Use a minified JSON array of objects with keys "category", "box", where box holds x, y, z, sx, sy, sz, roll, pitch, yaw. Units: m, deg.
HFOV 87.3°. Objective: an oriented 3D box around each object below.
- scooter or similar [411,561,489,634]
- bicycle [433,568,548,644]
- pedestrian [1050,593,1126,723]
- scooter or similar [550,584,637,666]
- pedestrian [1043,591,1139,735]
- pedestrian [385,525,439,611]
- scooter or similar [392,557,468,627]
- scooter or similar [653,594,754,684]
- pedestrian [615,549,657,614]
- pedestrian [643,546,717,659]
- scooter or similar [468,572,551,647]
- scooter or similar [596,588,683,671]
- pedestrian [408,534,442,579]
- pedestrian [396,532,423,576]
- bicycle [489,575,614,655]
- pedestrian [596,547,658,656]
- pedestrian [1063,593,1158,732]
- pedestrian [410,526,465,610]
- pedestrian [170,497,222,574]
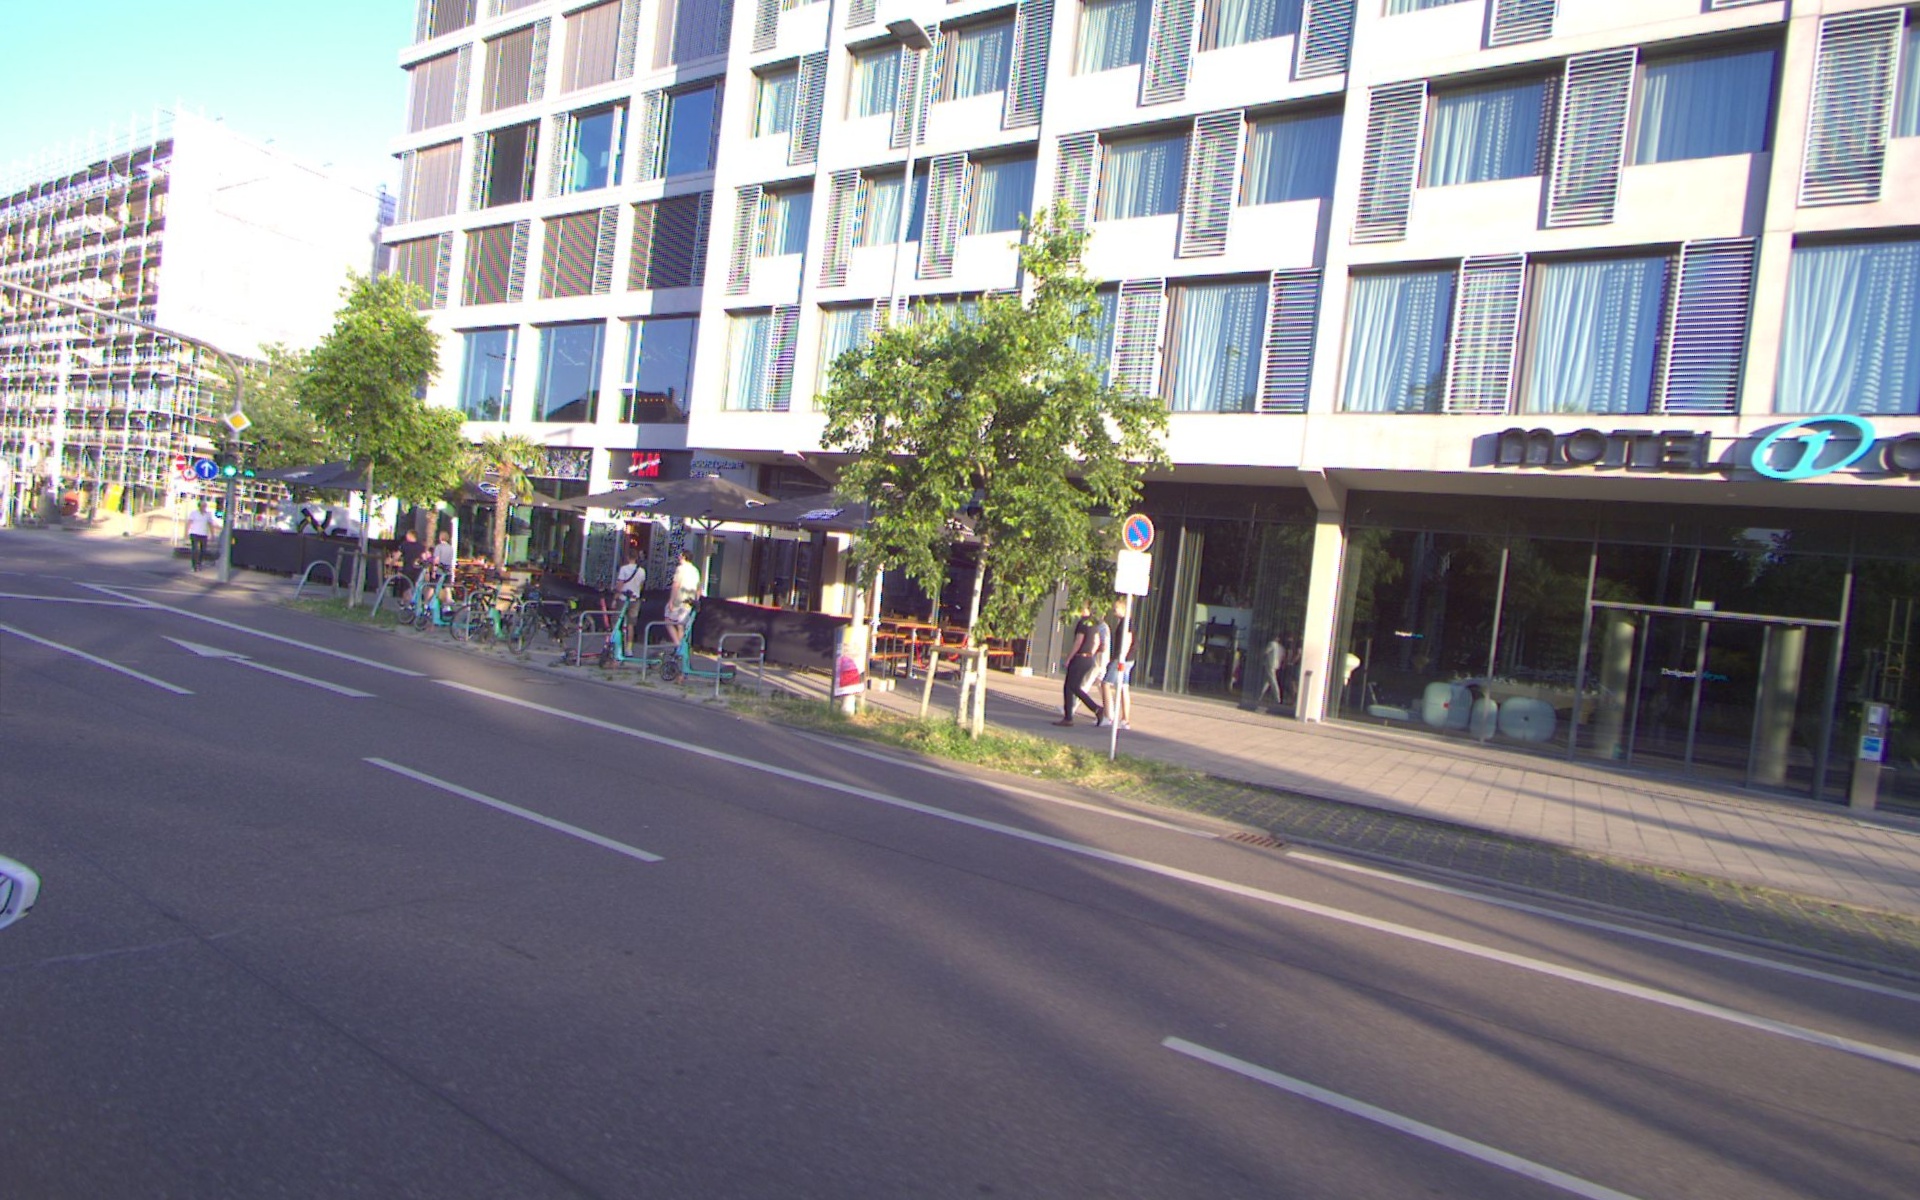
[{"category":"scooter or similar","box":[-9.181,-0.034,18.126,0.542,1.240,1.059,8,3,41]},{"category":"bicycle","box":[-8.187,0.111,17.636,0.558,1.210,1.795,7,3,27]},{"category":"pedestrian","box":[1.915,0.845,15.090,0.766,1.837,0.617,7,4,41]},{"category":"scooter or similar","box":[-5.765,0.398,15.850,0.501,1.207,1.155,6,2,33]},{"category":"pedestrian","box":[1.831,0.860,14.102,0.927,1.874,0.742,7,4,41]},{"category":"pedestrian","box":[-11.568,-0.660,21.227,0.677,1.725,0.653,8,3,31]},{"category":"scooter or similar","box":[-9.997,-0.138,18.988,0.588,1.240,1.052,7,3,27]},{"category":"scooter or similar","box":[-3.818,0.589,14.997,1.283,1.235,0.530,3,3,-35]},{"category":"pedestrian","box":[-9.021,-0.514,28.027,0.567,1.726,0.855,7,2,23]},{"category":"pedestrian","box":[-4.981,0.051,17.892,0.854,1.913,0.823,6,2,40]},{"category":"scooter or similar","box":[-7.742,0.166,17.324,0.472,1.218,1.210,7,3,27]},{"category":"scooter or similar","box":[-5.009,0.470,15.754,1.123,1.230,0.525,3,2,-43]},{"category":"pedestrian","box":[-17.245,-1.404,32.428,0.705,1.337,0.743,9,5,44]},{"category":"pedestrian","box":[-17.993,-1.502,32.897,0.609,1.337,0.613,2,5,-40]},{"category":"bicycle","box":[-6.711,0.259,16.629,0.598,1.198,1.847,8,3,31]},{"category":"pedestrian","box":[-5.812,0.024,17.571,0.817,1.810,0.575,6,3,40]},{"category":"pedestrian","box":[2.160,0.884,14.464,0.927,1.849,0.754,8,3,41]},{"category":"pedestrian","box":[-11.442,-0.692,22.036,0.748,1.758,0.685,8,4,31]},{"category":"pedestrian","box":[-19.787,-1.674,26.056,0.667,1.872,0.769,8,2,31]}]
